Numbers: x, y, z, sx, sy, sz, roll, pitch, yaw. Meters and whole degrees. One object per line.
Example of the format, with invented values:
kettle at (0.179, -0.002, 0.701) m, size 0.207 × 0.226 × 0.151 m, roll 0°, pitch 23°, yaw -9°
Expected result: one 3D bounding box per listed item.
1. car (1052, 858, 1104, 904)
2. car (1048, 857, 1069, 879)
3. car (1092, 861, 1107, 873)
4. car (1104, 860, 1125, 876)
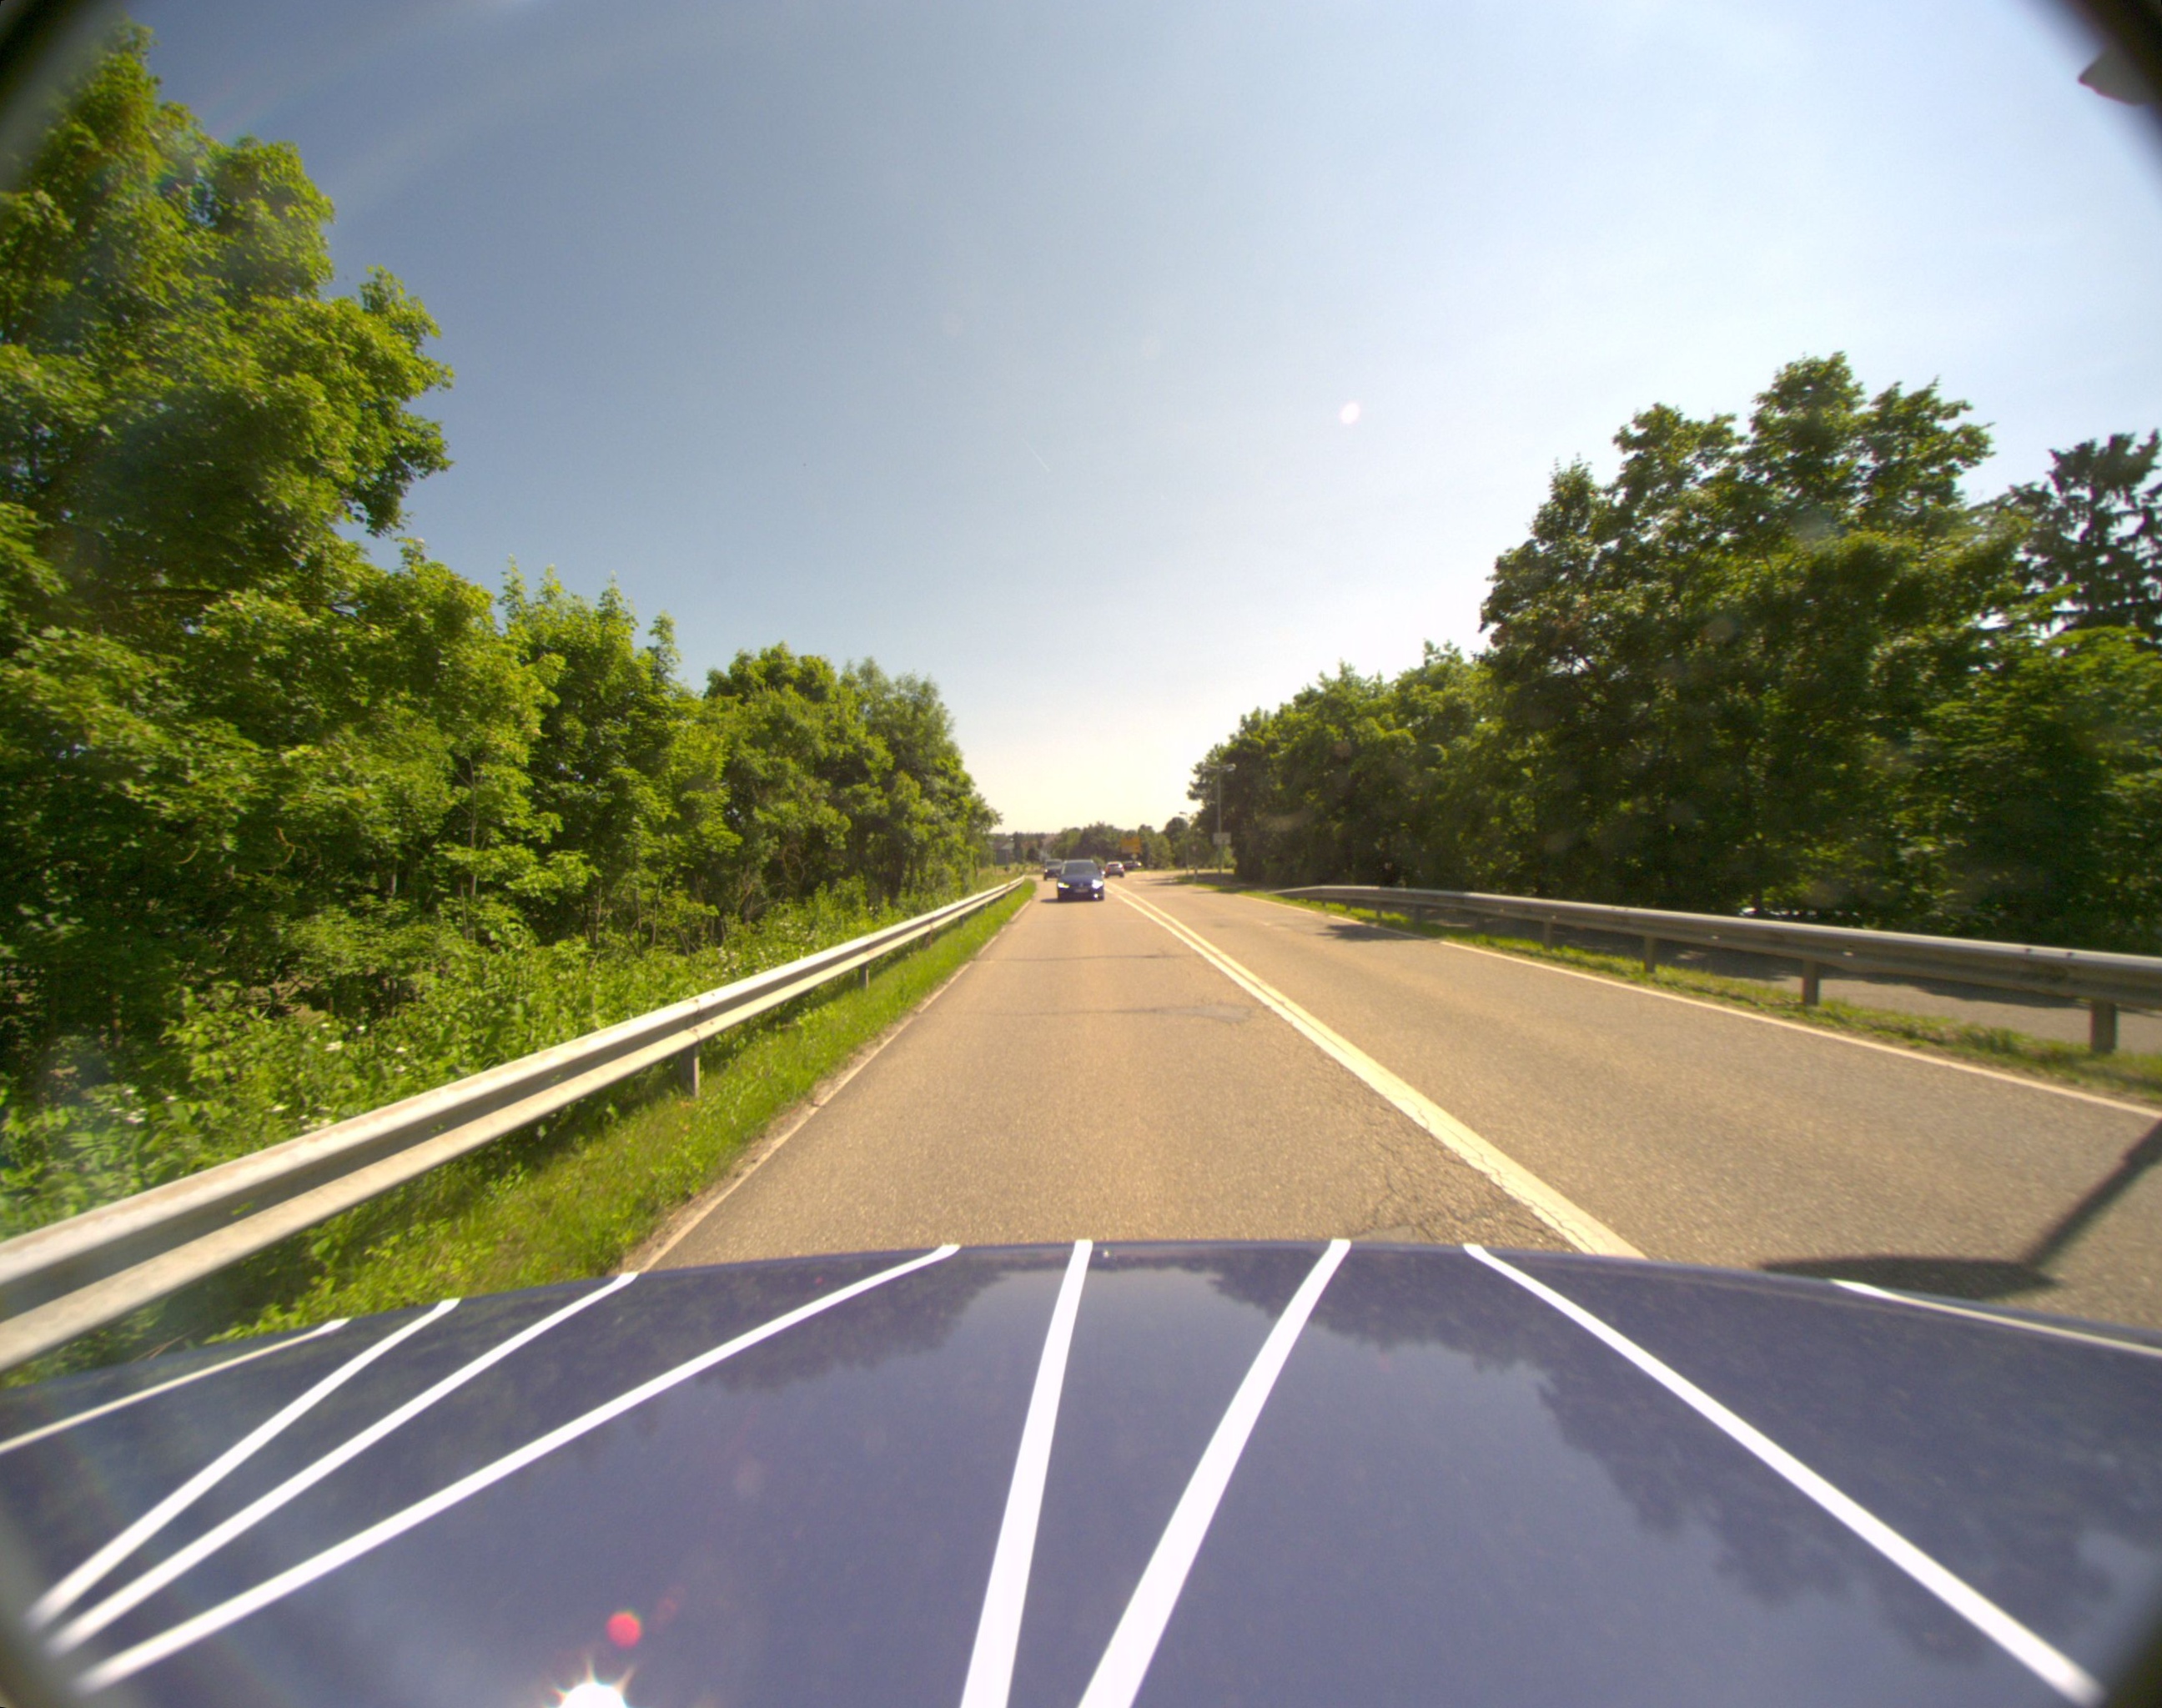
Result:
car at (-0.043, 1.014, 30.039) m, size 1.828 × 1.591 × 4.196 m, roll -3°, pitch 0°, yaw 2°
car at (-2.087, 1.313, 70.956) m, size 1.779 × 2.006 × 4.000 m, roll 0°, pitch -1°, yaw 0°
car at (2.222, 1.585, 91.950) m, size 1.631 × 1.396 × 3.433 m, roll -2°, pitch 0°, yaw 1°
car at (3.196, 1.327, 72.683) m, size 1.744 × 1.447 × 3.888 m, roll -3°, pitch 0°, yaw 0°
